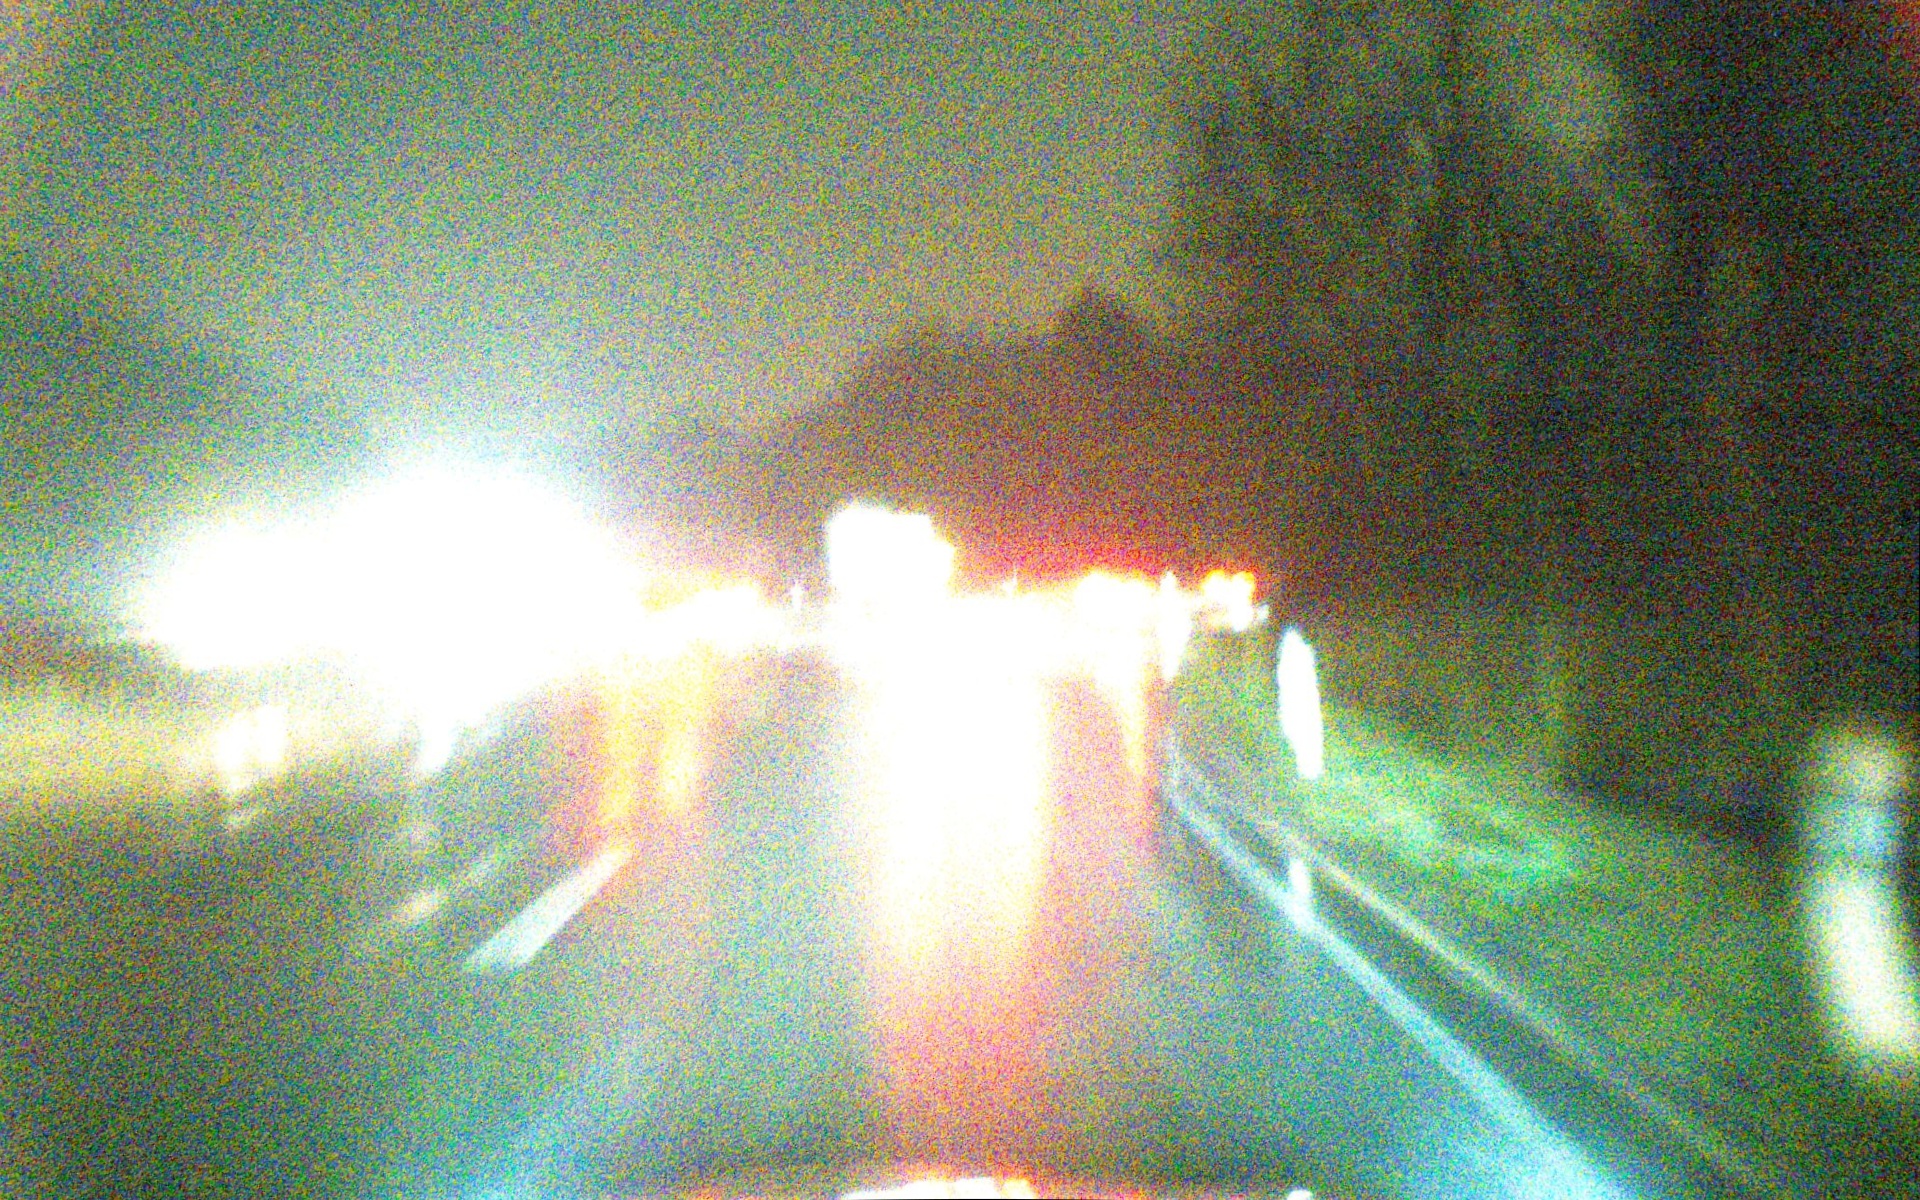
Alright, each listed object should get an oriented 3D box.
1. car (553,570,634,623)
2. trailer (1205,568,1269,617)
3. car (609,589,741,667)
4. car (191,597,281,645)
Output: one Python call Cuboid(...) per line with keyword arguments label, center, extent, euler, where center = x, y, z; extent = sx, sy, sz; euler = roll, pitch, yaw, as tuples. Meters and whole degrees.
Cuboid(label="car", center=(-11.361, -0.117, 51.591), extent=(1.733, 1.543, 4.911), euler=(-1, 0, -4))
Cuboid(label="trailer", center=(12.638, -0.304, 74.955), extent=(2.034, 2.049, 10.656), euler=(-1, 0, 14))
Cuboid(label="car", center=(-5.390, 0.511, 31.774), extent=(1.922, 1.405, 4.048), euler=(0, 0, -1))
Cuboid(label="car", center=(-23.578, 0.668, 53.977), extent=(1.751, 1.500, 3.884), euler=(0, 0, -9))
